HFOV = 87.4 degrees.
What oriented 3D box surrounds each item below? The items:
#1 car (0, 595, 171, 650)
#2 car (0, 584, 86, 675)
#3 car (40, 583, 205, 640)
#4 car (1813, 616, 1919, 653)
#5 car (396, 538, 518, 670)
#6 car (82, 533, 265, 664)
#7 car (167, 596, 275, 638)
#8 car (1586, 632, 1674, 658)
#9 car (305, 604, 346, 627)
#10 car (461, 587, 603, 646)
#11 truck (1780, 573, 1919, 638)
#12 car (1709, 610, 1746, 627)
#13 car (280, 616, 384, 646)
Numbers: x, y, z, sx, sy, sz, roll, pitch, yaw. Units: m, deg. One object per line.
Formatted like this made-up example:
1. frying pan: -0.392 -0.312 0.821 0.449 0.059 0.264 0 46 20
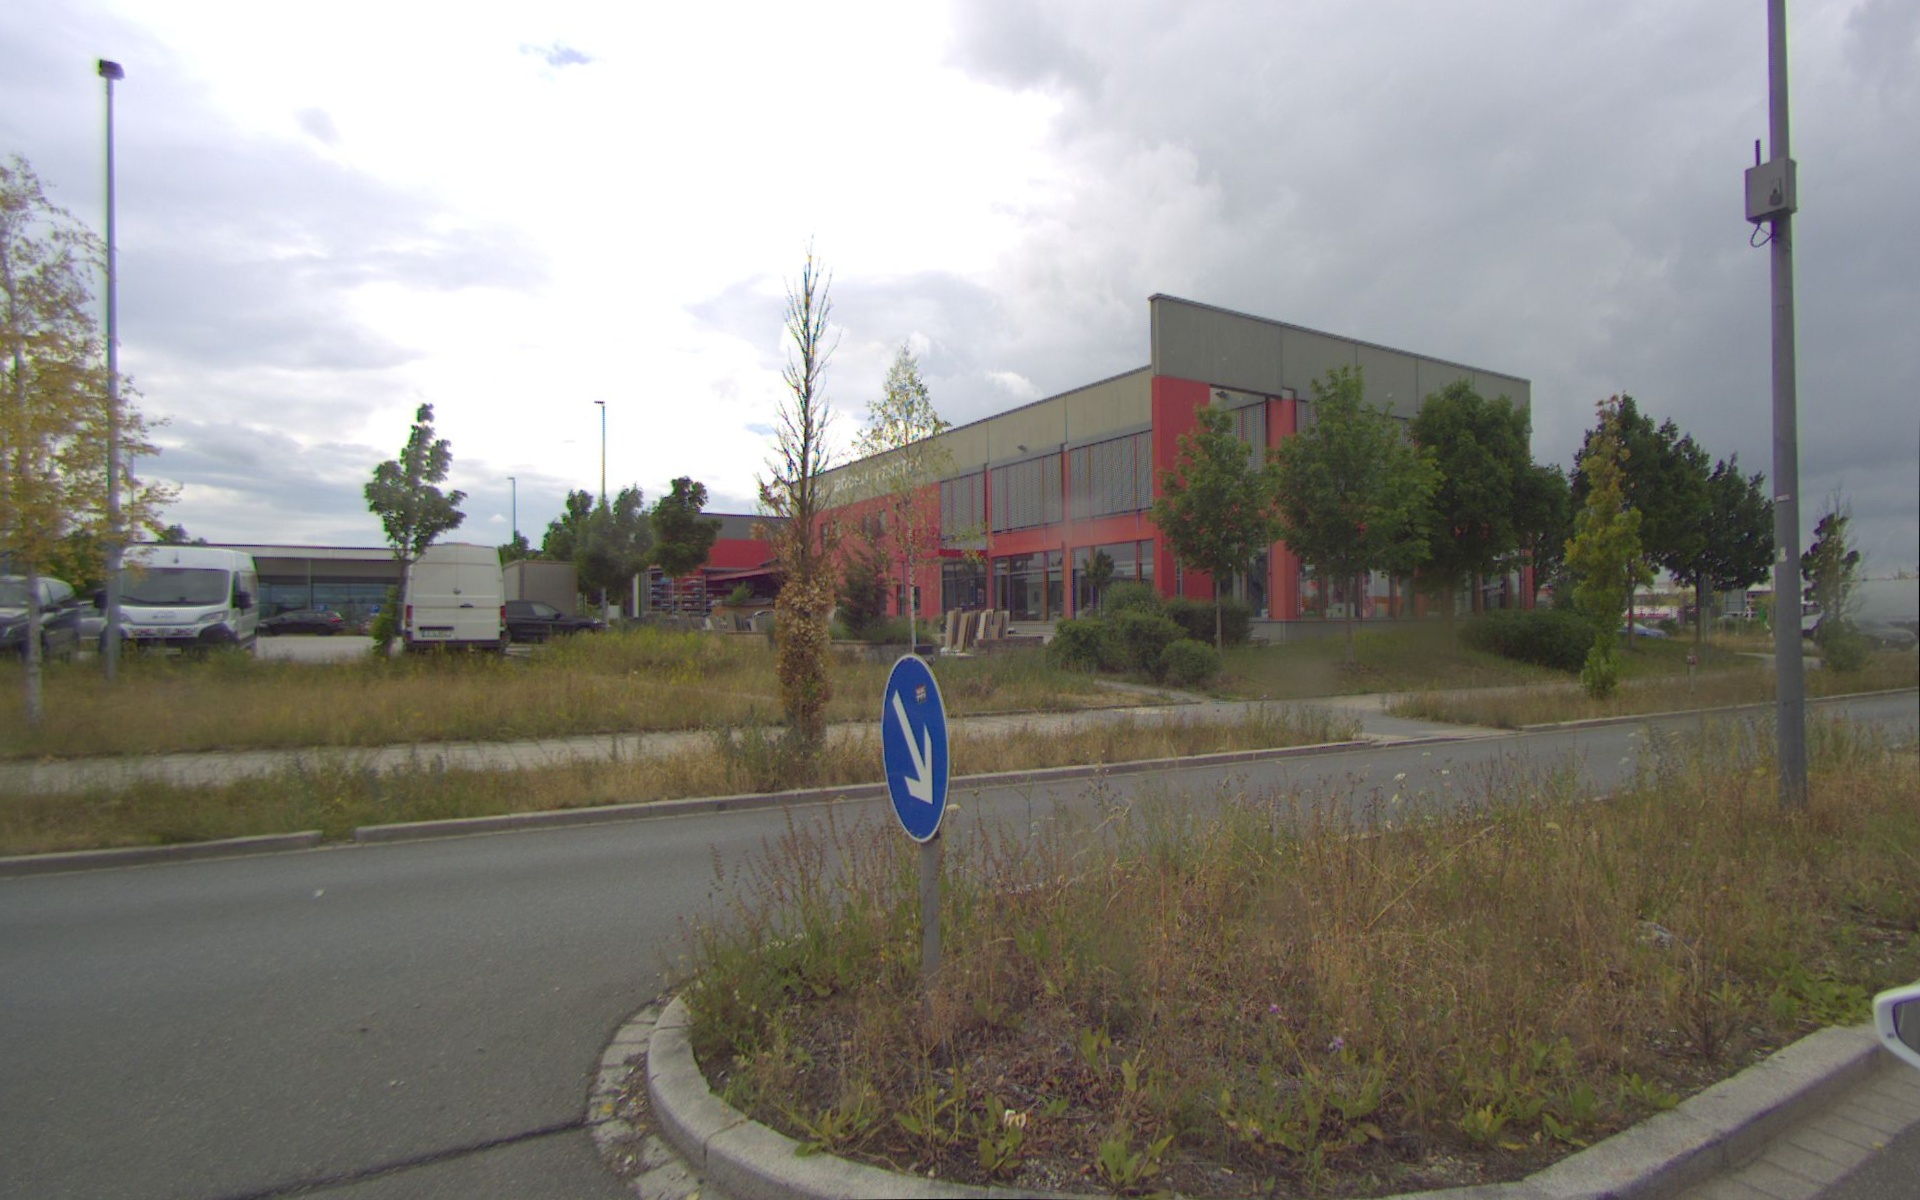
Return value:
1. car: -27.537 0.724 31.755 3.961 1.623 1.657 1 -2 -36
2. car: -18.987 0.564 19.737 1.973 1.638 4.875 1 -2 -32
3. car: -28.941 0.438 34.913 4.226 1.874 1.980 1 -2 -36
4. car: 42.700 1.610 47.338 2.023 1.613 4.207 -2 -2 13
5. car: -11.876 0.149 23.473 2.217 2.633 6.379 1 -1 -29
6. car: -16.263 0.035 21.152 2.184 2.337 6.039 1 -1 -30
7. car: -37.501 0.892 51.081 3.936 2.040 1.993 1 -2 -18
8. car: 40.891 2.767 61.386 1.818 1.548 4.212 0 -3 -18
9. car: -46.403 1.125 73.507 1.973 1.628 3.976 1 -1 -25
10. car: -15.766 0.635 37.094 4.589 2.060 1.982 1 -2 -33
11. truck: 57.375 0.394 62.676 9.169 3.958 3.137 -1 -2 30
12. car: 83.972 1.999 109.888 3.957 1.884 1.982 1 -1 -33
13. car: -35.923 1.763 57.589 5.001 1.673 1.983 1 -2 -32
